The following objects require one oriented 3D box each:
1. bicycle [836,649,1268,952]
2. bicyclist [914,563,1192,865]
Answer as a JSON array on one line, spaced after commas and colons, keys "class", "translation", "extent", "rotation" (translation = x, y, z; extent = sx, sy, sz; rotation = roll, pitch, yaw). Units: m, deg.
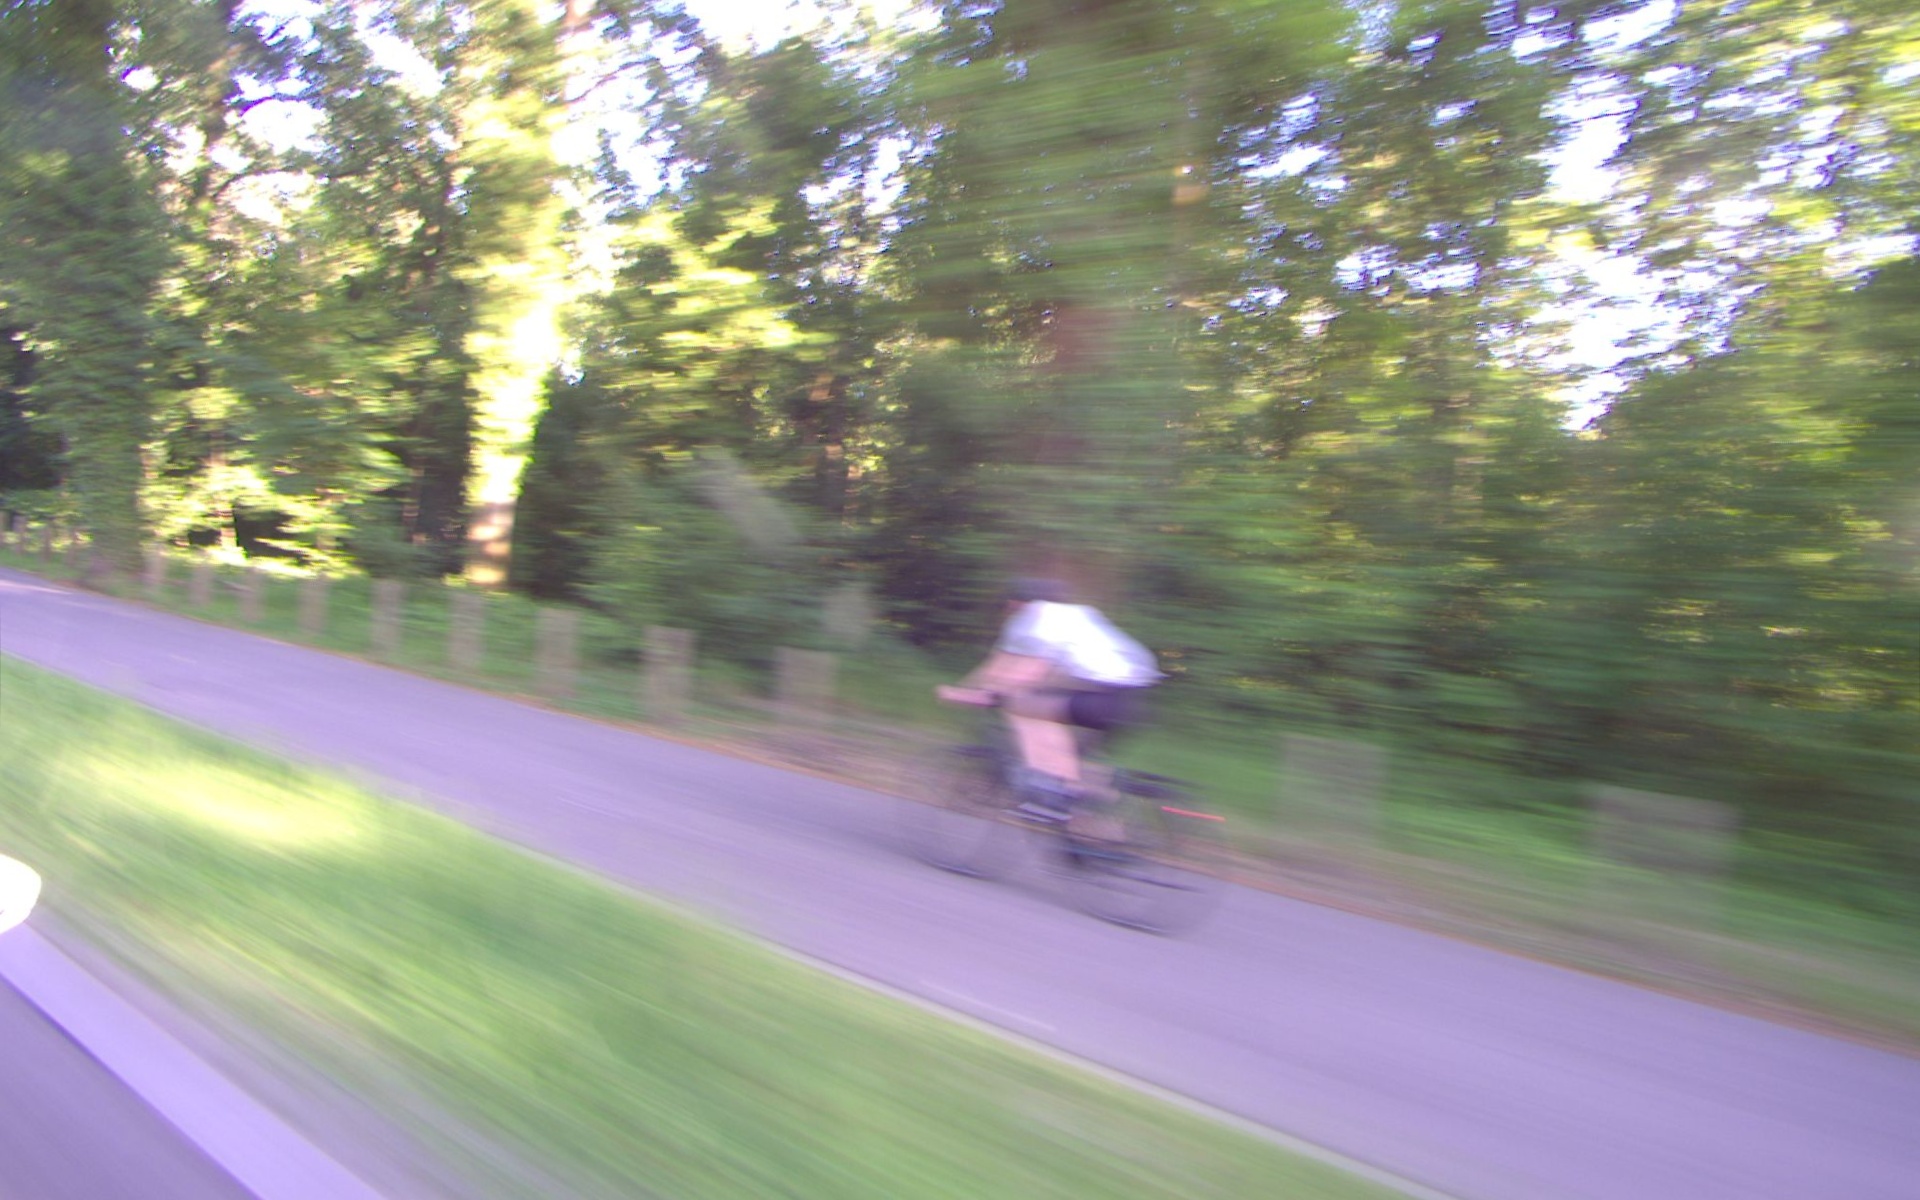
[{"class": "bicycle", "translation": [0.424, 0.926, 5.205], "extent": [2.019, 1.068, 0.713], "rotation": [7, 0, 32]}, {"class": "bicyclist", "translation": [0.484, 0.542, 5.200], "extent": [1.086, 1.304, 0.713], "rotation": [7, 0, 32]}]
